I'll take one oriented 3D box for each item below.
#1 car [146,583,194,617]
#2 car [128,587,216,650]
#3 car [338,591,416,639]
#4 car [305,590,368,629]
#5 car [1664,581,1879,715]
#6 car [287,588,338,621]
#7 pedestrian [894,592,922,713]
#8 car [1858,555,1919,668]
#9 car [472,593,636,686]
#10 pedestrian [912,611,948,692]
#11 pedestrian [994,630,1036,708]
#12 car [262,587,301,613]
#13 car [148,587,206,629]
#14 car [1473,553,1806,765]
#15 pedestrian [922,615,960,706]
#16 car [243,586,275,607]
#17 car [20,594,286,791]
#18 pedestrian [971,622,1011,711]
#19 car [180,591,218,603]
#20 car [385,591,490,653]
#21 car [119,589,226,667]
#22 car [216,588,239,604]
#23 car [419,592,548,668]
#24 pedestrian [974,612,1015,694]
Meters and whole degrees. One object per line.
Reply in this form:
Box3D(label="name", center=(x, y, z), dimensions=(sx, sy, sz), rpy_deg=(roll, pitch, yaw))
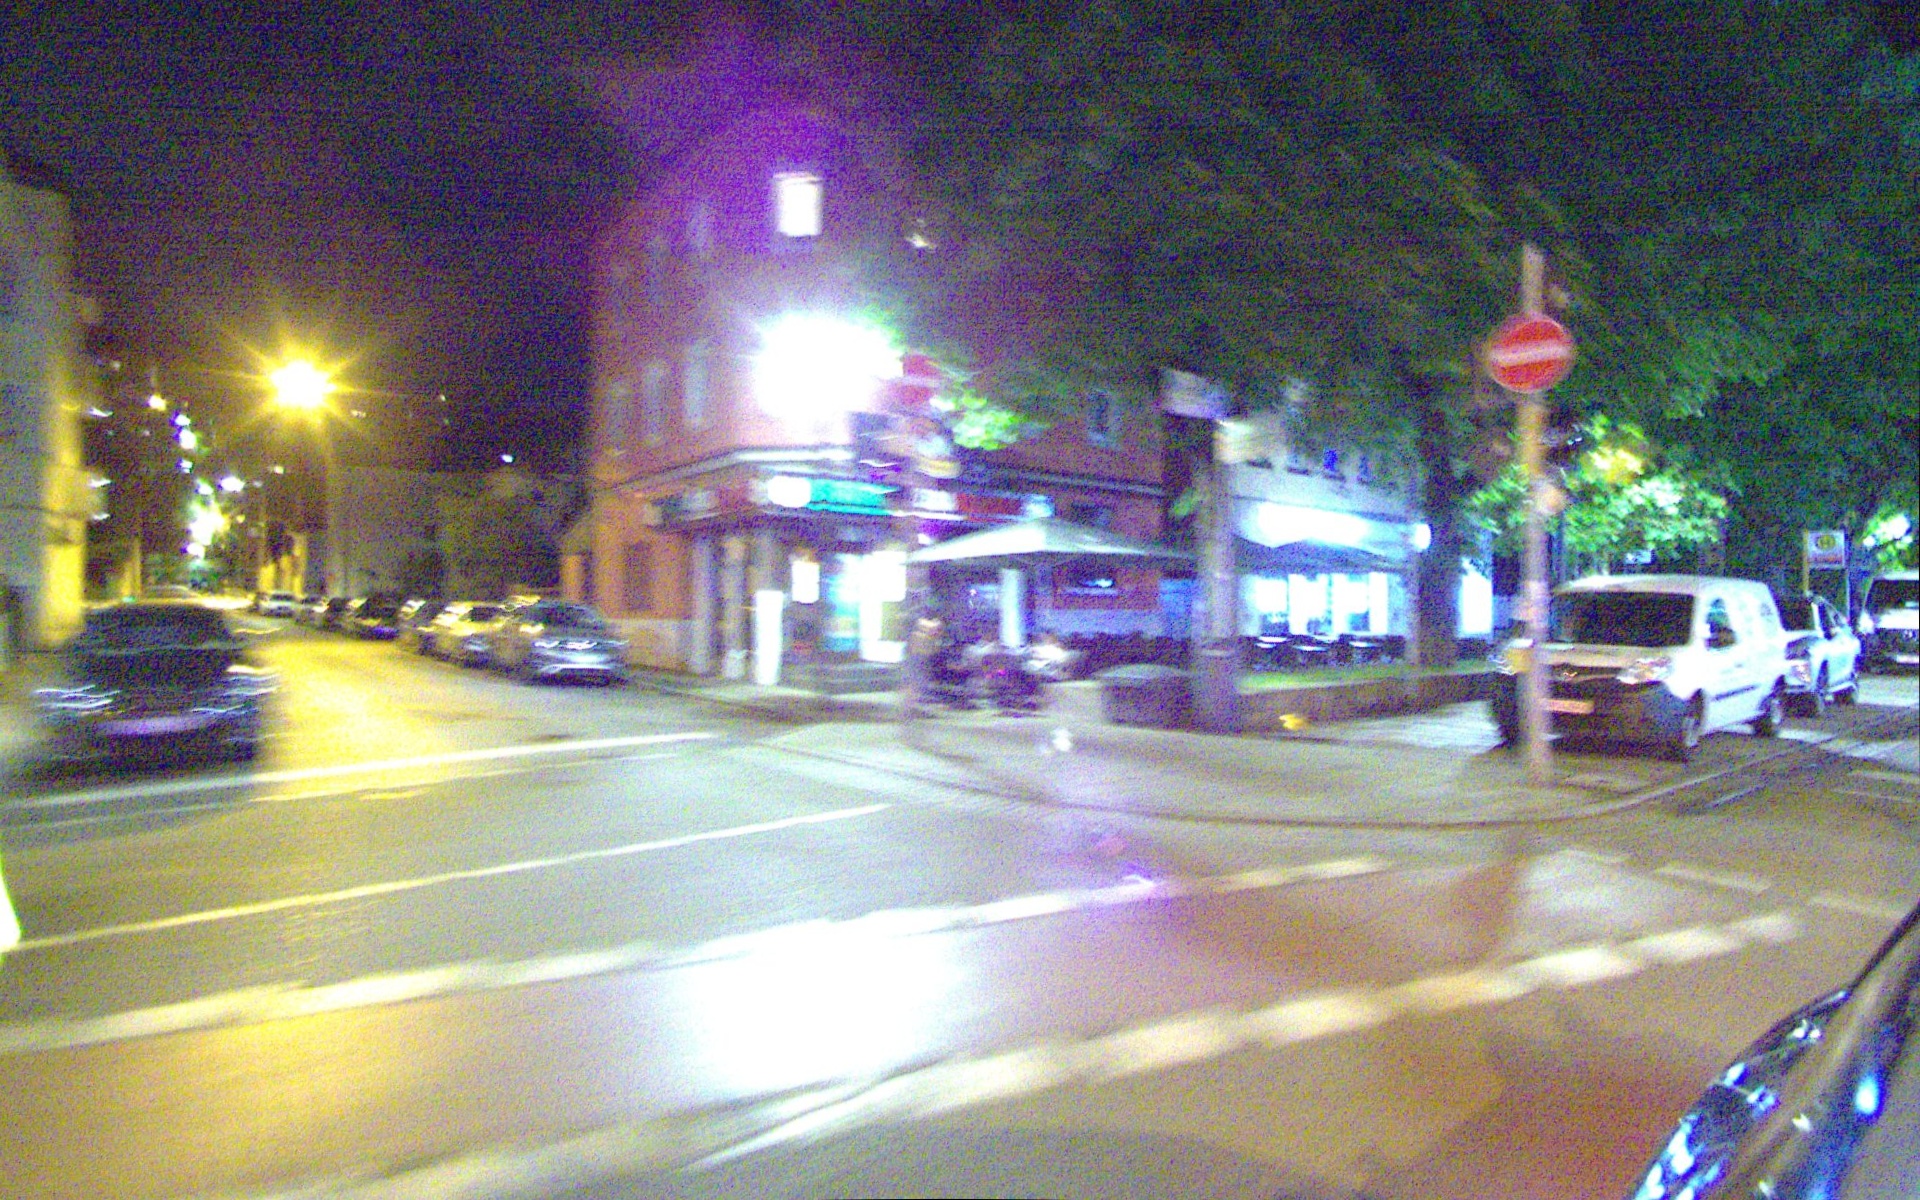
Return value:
Box3D(label="car", center=(-39.170, -0.024, 50.174), dimensions=(1.771, 1.569, 4.152), rpy_deg=(-3, 2, -39))
Box3D(label="car", center=(-21.862, 0.458, 28.079), dimensions=(1.771, 1.569, 4.152), rpy_deg=(-3, 2, -39))
Box3D(label="car", center=(-20.818, 0.522, 36.091), dimensions=(1.770, 1.569, 4.153), rpy_deg=(3, -1, -38))
Box3D(label="car", center=(-26.919, 0.389, 43.620), dimensions=(1.770, 1.569, 4.153), rpy_deg=(3, -1, -38))
Box3D(label="car", center=(11.908, 0.604, 14.757), dimensions=(4.221, 1.680, 1.687), rpy_deg=(0, 0, -40))
Box3D(label="car", center=(-33.531, 0.230, 52.395), dimensions=(1.770, 1.569, 4.153), rpy_deg=(3, -1, -38))
Box3D(label="pedestrian", center=(-0.700, 0.701, 13.682), dimensions=(0.364, 1.608, 0.482), rpy_deg=(0, -1, -3))
Box3D(label="car", center=(21.866, 0.246, 22.602), dimensions=(5.062, 2.356, 2.137), rpy_deg=(0, 0, -42))
Box3D(label="car", center=(-7.888, 0.692, 19.465), dimensions=(1.770, 1.569, 4.153), rpy_deg=(3, -1, -38))
Box3D(label="pedestrian", center=(-0.498, 0.831, 16.545), dimensions=(0.518, 1.280, 0.503), rpy_deg=(0, -1, -10))
Box3D(label="pedestrian", center=(0.781, 0.975, 14.477), dimensions=(0.492, 1.067, 0.530), rpy_deg=(0, -1, -8))
Box3D(label="car", center=(-44.771, -0.025, 66.746), dimensions=(1.770, 1.569, 4.153), rpy_deg=(3, -1, -38))
Box3D(label="car", center=(-32.229, 0.304, 41.645), dimensions=(1.771, 1.569, 4.152), rpy_deg=(-3, 2, -39))
Box3D(label="car", center=(7.493, 0.517, 10.980), dimensions=(4.497, 1.845, 1.793), rpy_deg=(0, 0, -39))
Box3D(label="pedestrian", center=(-0.279, 0.861, 14.621), dimensions=(0.492, 1.280, 0.530), rpy_deg=(0, -1, -8))
Box3D(label="car", center=(-55.845, -0.271, 80.598), dimensions=(1.770, 1.569, 4.153), rpy_deg=(3, -1, -38))
Box3D(label="car", center=(-8.203, 0.735, 10.394), dimensions=(1.771, 1.551, 4.325), rpy_deg=(-1, 1, -39))
Box3D(label="pedestrian", center=(0.411, 0.888, 13.658), dimensions=(0.508, 1.183, 0.391), rpy_deg=(0, -1, -2))
Box3D(label="car", center=(-98.356, -0.388, 130.853), dimensions=(1.465, 1.414, 3.732), rpy_deg=(1, -1, 45))
Box3D(label="car", center=(-14.495, 0.569, 27.964), dimensions=(1.770, 1.569, 4.153), rpy_deg=(3, -1, -38))
Box3D(label="car", center=(-18.156, 0.565, 23.334), dimensions=(1.771, 1.569, 4.152), rpy_deg=(-3, 2, -39))
Box3D(label="car", center=(-78.790, -0.459, 108.826), dimensions=(1.770, 1.569, 4.153), rpy_deg=(3, -1, -38))
Box3D(label="car", center=(-11.137, 0.639, 23.502), dimensions=(1.770, 1.569, 4.153), rpy_deg=(3, -1, -38))
Box3D(label="pedestrian", center=(0.550, 0.836, 16.327), dimensions=(0.518, 1.280, 0.685), rpy_deg=(0, -1, -10))
